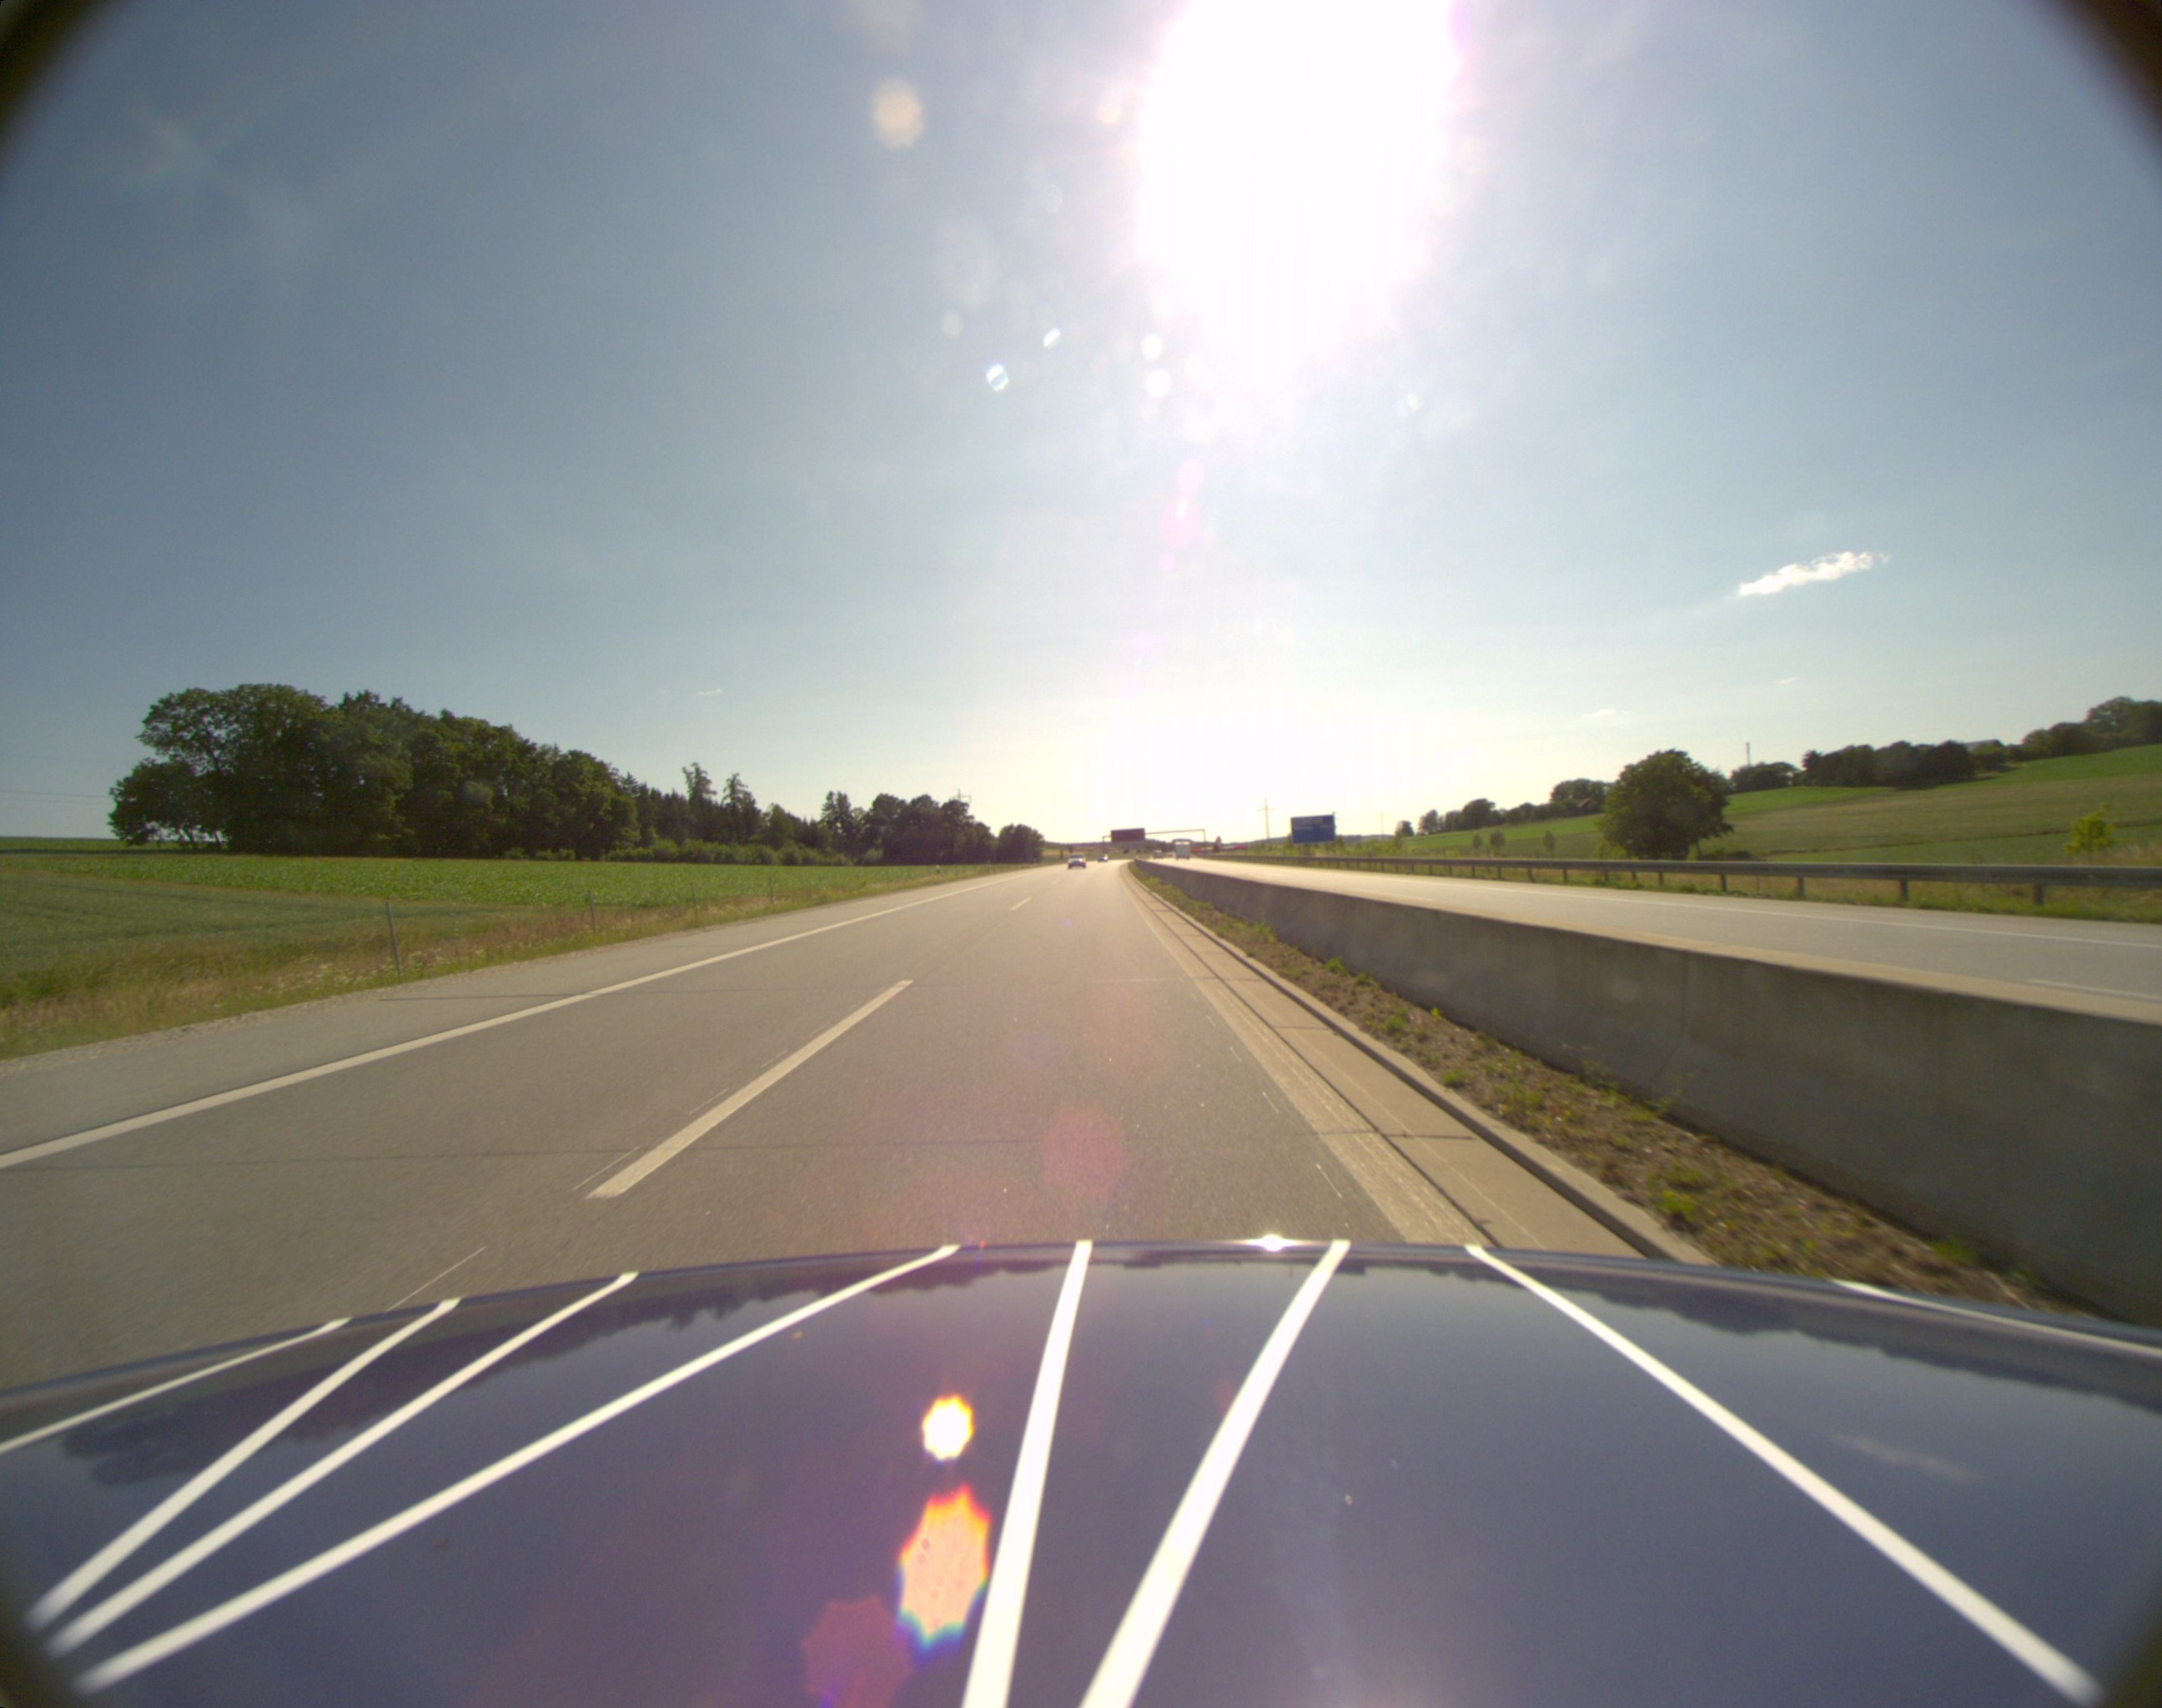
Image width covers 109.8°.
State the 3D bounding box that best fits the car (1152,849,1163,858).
[{"bbox_3d":[14.748,-0.087,146.817,1.991,1.699,4.346,-1,0,3],"label":"car"}]

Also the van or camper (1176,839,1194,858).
[{"bbox_3d":[17.670,-0.924,129.901,2.596,3.062,7.439,-1,0,5],"label":"van or camper"}]

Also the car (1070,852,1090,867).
[{"bbox_3d":[-0.114,0.573,80.886,1.891,1.565,3.792,-1,0,3],"label":"car"}]

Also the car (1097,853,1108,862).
[{"bbox_3d":[3.931,0.682,138.893,1.891,1.565,3.793,-1,0,3],"label":"car"}]
